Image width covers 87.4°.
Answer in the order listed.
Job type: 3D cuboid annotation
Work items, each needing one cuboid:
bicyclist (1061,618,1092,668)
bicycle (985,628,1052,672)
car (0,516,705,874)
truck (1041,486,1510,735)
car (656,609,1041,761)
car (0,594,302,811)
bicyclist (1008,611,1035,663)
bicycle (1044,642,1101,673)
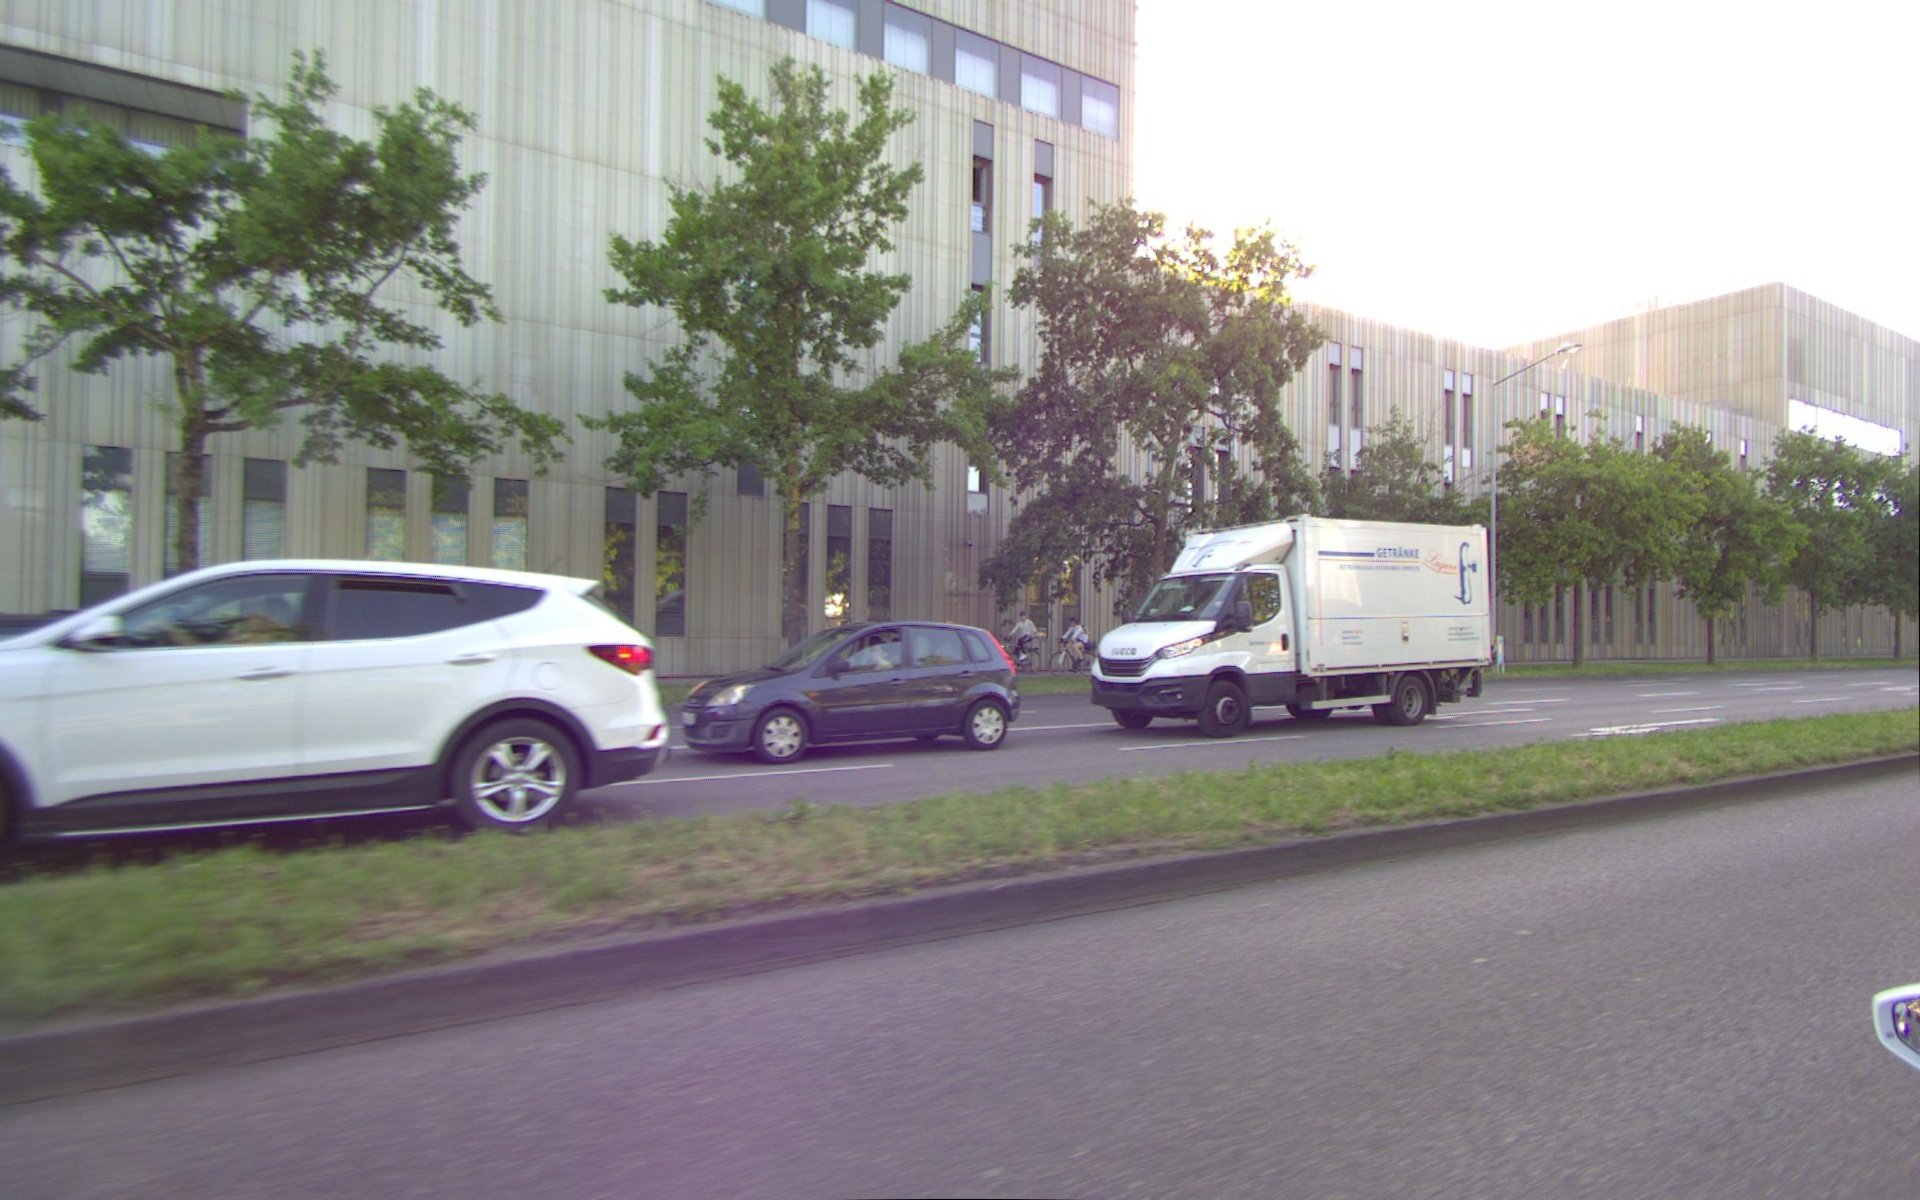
[{"bbox_3d":[3.450,1.267,29.740,0.744,1.461,0.505,1,-1,-31],"label":"bicyclist"},{"bbox_3d":[1.767,1.489,30.177,2.076,1.287,0.509,1,-1,-32],"label":"bicycle"},{"bbox_3d":[-4.096,0.517,6.135,4.605,1.704,1.815,2,-3,-31],"label":"car"},{"bbox_3d":[4.847,0.266,15.023,7.030,2.999,2.674,2,-3,-30],"label":"truck"},{"bbox_3d":[-1.217,0.872,11.372,3.954,1.443,1.826,1,-2,-31],"label":"car"},{"bbox_3d":[-7.148,0.729,7.503,3.597,1.489,1.613,1,-3,-30],"label":"car"},{"bbox_3d":[1.840,1.110,30.220,0.637,1.527,0.505,1,-1,-31],"label":"bicyclist"},{"bbox_3d":[3.317,1.687,29.656,1.734,0.902,0.509,1,-1,-32],"label":"bicycle"}]
